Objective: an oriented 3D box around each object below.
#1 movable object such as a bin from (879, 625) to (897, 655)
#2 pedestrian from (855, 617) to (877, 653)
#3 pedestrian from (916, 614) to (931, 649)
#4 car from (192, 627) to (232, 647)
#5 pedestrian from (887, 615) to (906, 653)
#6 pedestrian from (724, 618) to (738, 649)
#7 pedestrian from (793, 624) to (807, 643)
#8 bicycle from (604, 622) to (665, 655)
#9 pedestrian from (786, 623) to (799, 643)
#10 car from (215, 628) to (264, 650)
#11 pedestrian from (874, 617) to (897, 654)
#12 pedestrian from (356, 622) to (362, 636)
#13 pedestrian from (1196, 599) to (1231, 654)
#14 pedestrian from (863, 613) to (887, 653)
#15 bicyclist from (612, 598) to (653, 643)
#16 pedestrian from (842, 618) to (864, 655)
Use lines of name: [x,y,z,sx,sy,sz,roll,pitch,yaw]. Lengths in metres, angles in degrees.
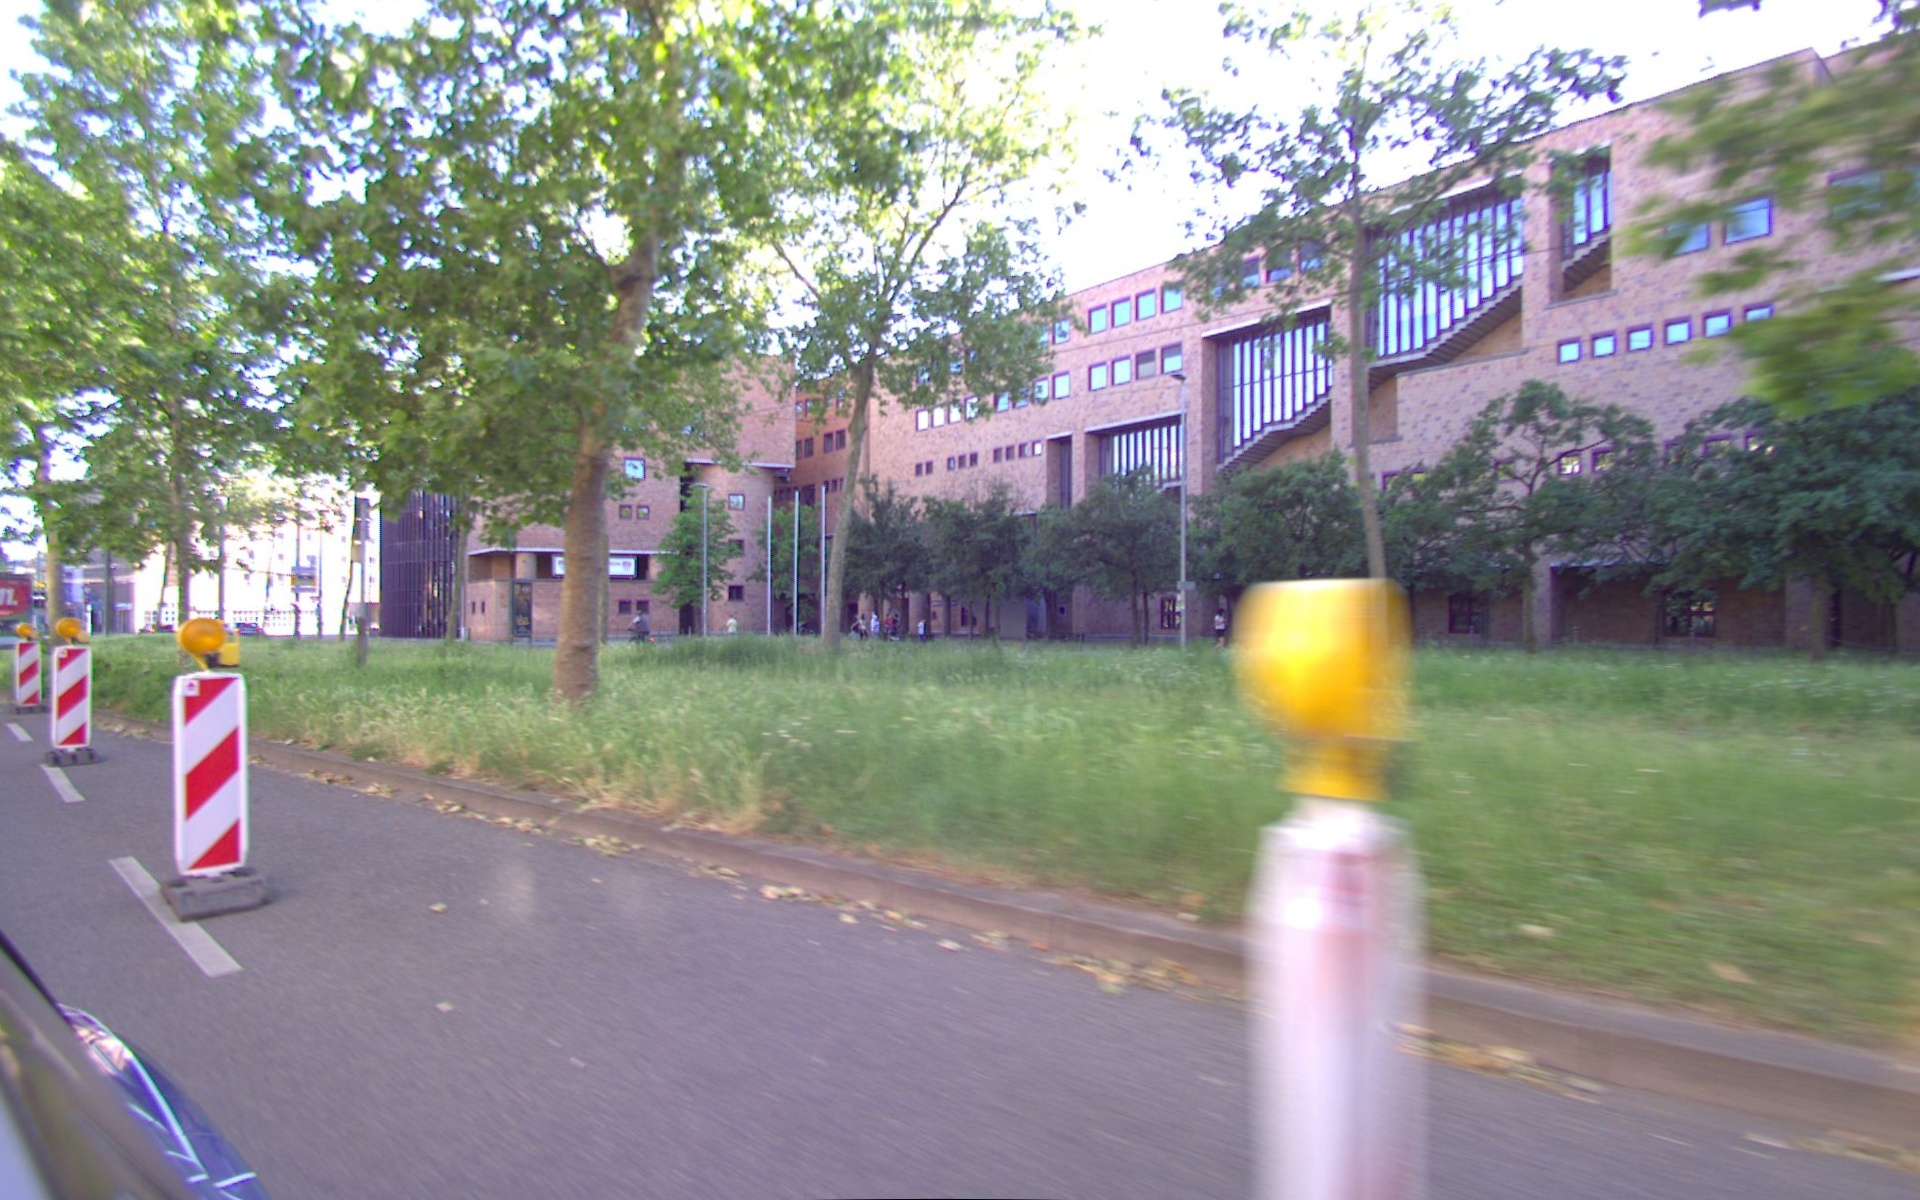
movable object such as a bin: [-3.112,1.730,43.681,0.756,1.289,0.352,-2,-2,39]
pedestrian: [-4.274,1.576,45.976,0.656,1.629,0.757,1,-2,-44]
pedestrian: [-1.630,1.405,45.321,0.463,1.517,0.478,-2,-2,40]
car: [-54.567,2.669,73.816,3.217,1.440,1.597,-2,-2,38]
pedestrian: [-2.847,1.515,45.342,0.595,1.692,0.605,-1,-2,38]
pedestrian: [-11.607,1.709,51.256,0.653,1.555,0.412,-2,-2,45]
pedestrian: [-10.268,2.150,64.842,0.628,1.207,0.659,-1,-2,29]
bicycle: [-11.733,1.376,36.431,2.434,1.134,0.947,-1,-1,40]
pedestrian: [-10.568,2.072,63.881,0.654,1.260,0.759,0,-1,-19]
car: [-49.717,2.662,69.808,4.144,1.440,1.655,-2,-2,38]
pedestrian: [-3.292,1.553,44.868,0.755,1.629,0.657,-1,-2,38]
pedestrian: [-66.429,3.242,111.909,0.558,1.516,0.513,0,-3,-29]
pedestrian: [8.749,0.907,34.945,0.900,1.845,0.815,-2,-2,40]
pedestrian: [-3.698,1.444,44.205,0.796,1.735,0.657,-1,-2,38]
bicyclist: [-11.814,0.744,36.505,1.208,1.583,0.932,-2,-2,40]
pedestrian: [-4.797,1.623,45.409,0.755,1.629,0.657,-1,-2,38]
